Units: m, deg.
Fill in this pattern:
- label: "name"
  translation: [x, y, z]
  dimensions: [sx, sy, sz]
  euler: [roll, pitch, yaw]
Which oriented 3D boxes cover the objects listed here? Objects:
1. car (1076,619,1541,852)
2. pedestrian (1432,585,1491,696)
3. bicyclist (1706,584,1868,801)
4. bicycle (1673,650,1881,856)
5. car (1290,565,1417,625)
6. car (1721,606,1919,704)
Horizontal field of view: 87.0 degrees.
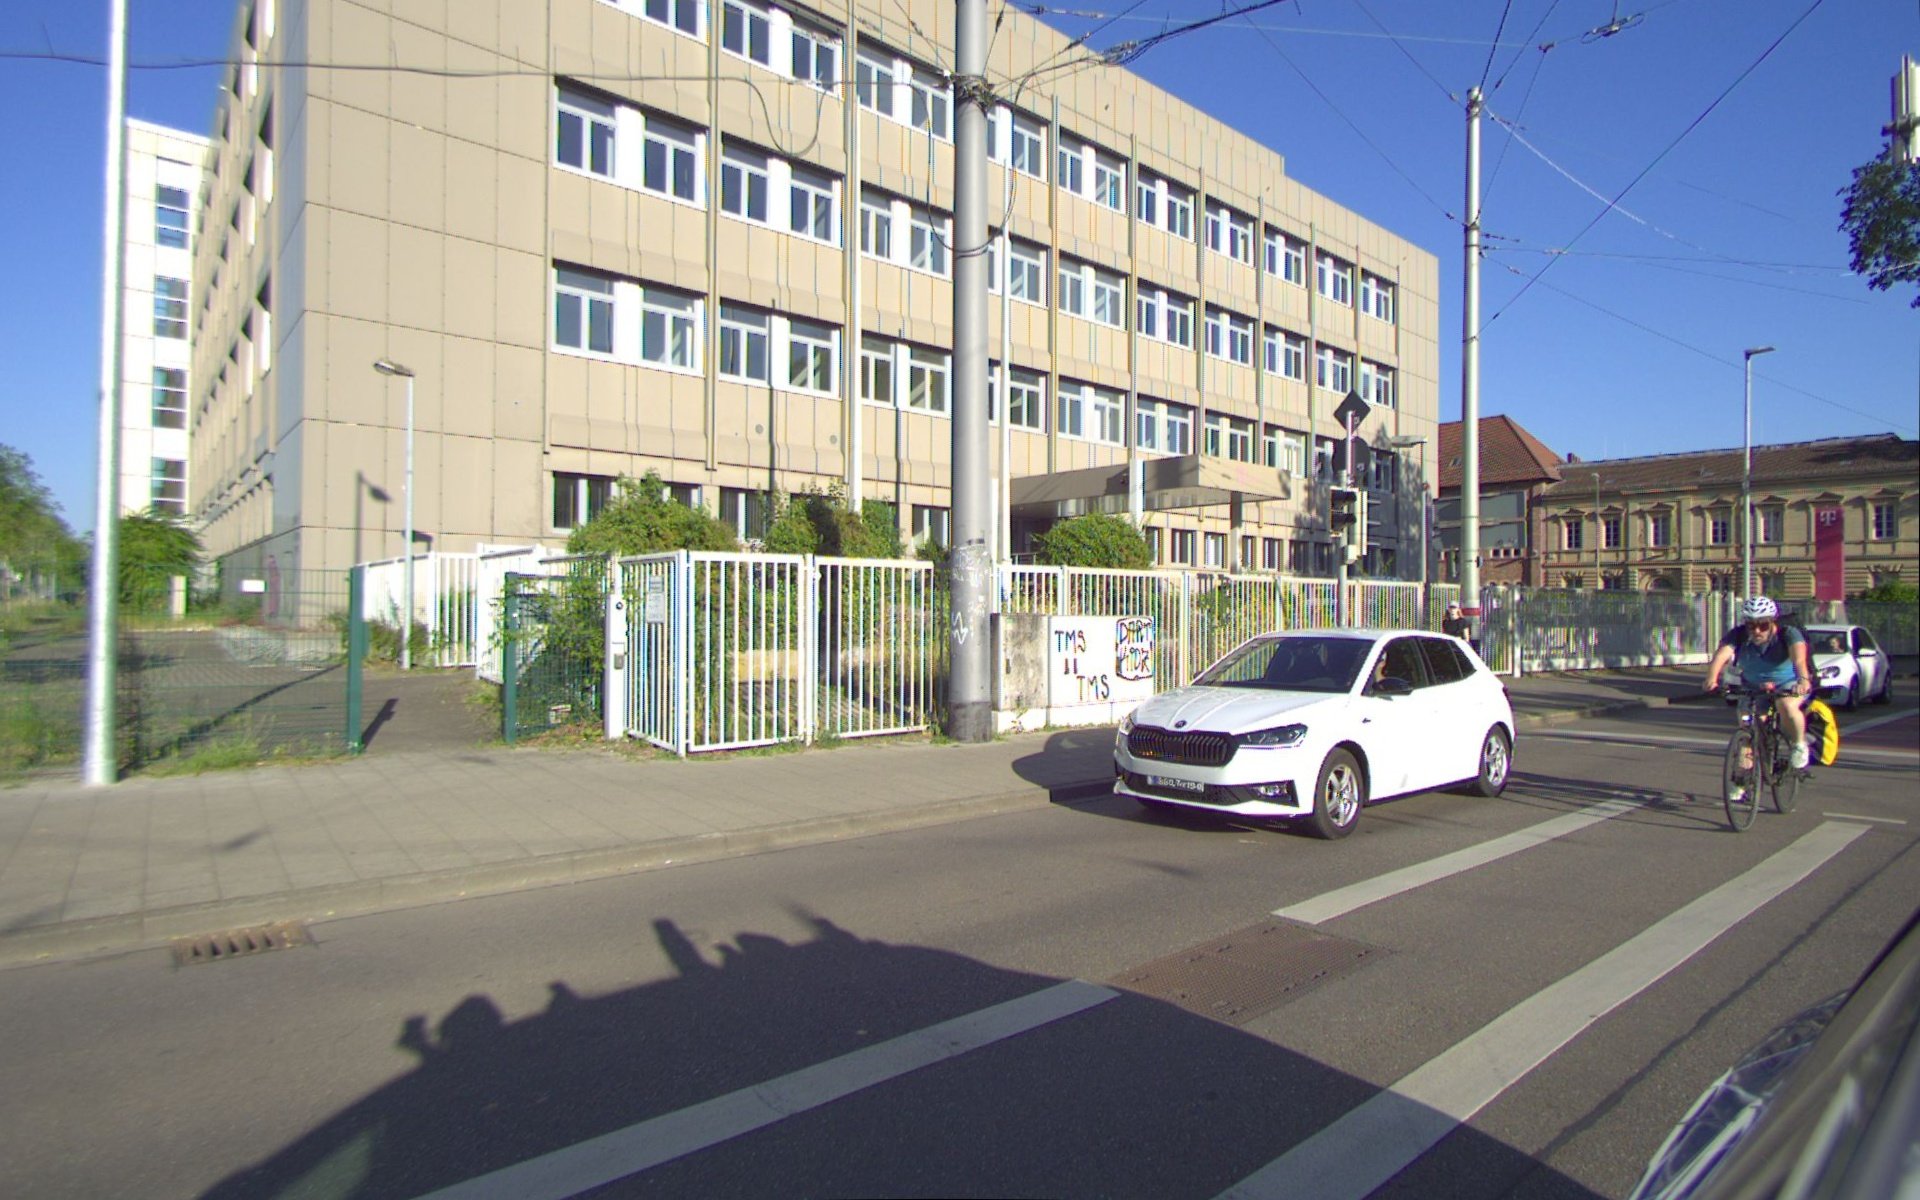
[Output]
- label: "car"
  translation: [2.953, 0.870, 8.189]
  dimensions: [4.001, 1.407, 1.704]
  euler: [0, -1, -39]
- label: "pedestrian"
  translation: [8.295, 0.650, 16.734]
  dimensions: [0.755, 1.785, 0.592]
  euler: [1, -1, -35]
- label: "bicyclist"
  translation: [5.948, 0.621, 7.281]
  dimensions: [0.844, 1.440, 0.727]
  euler: [0, -2, -40]
- label: "bicycle"
  translation: [5.887, 0.987, 7.234]
  dimensions: [2.266, 1.159, 0.764]
  euler: [0, 0, -41]
- label: "car"
  translation: [13.245, -0.146, 33.951]
  dimensions: [4.701, 1.866, 1.997]
  euler: [0, 0, -41]
- label: "car"
  translation: [15.335, 0.915, 17.971]
  dimensions: [4.222, 1.522, 1.793]
  euler: [0, -3, -37]
